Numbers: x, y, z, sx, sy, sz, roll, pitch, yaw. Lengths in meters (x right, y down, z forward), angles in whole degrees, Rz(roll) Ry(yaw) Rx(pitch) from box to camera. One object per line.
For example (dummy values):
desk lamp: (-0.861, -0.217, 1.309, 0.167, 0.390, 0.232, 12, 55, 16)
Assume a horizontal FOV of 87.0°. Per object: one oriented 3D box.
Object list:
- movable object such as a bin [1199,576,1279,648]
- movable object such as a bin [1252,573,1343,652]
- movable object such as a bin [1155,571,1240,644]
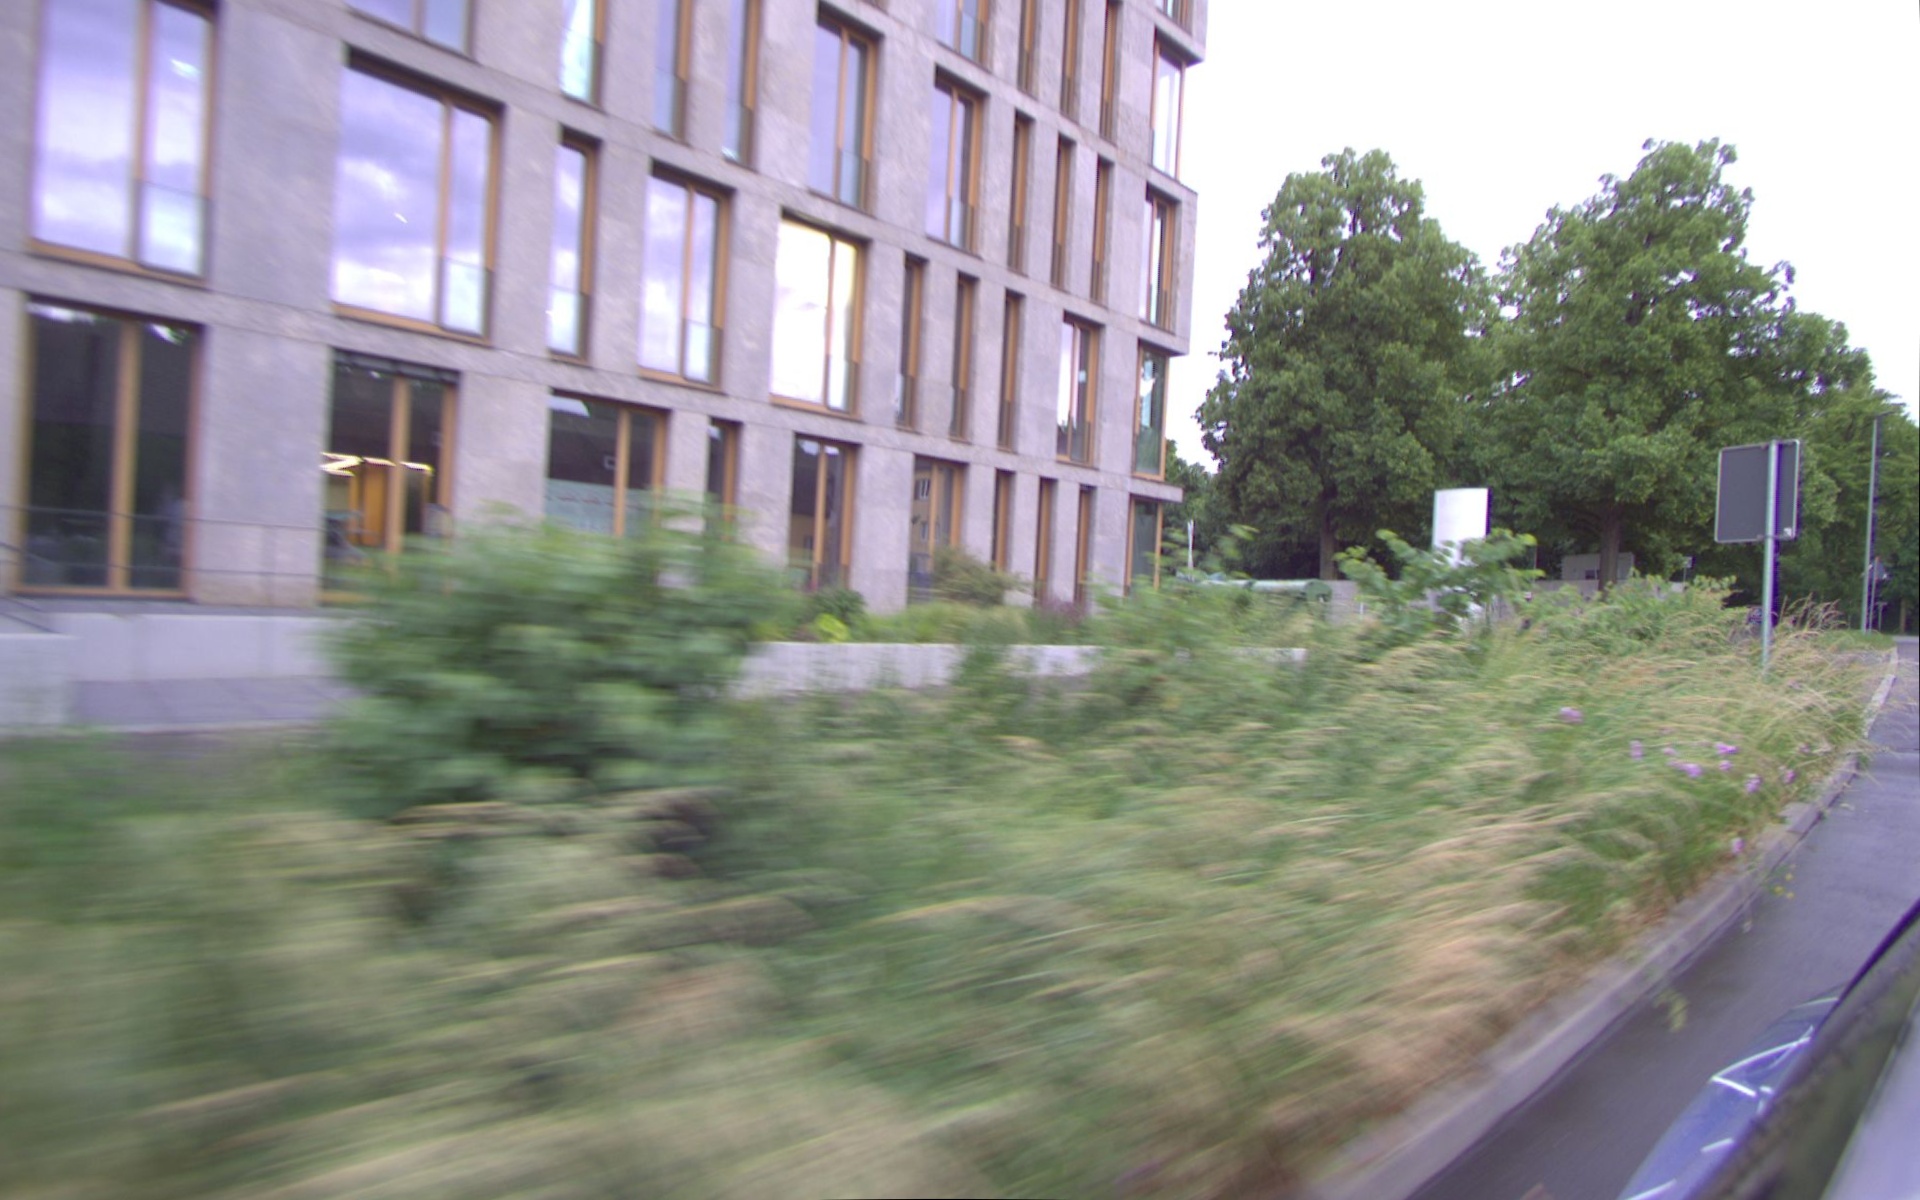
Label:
movable object such as a bin: (5.750, 0.244, 20.874, 1.128, 1.417, 1.101, 0, -2, -34)
movable object such as a bin: (6.624, 0.248, 19.891, 1.089, 1.477, 1.251, 0, -2, -34)
movable object such as a bin: (5.174, 0.140, 22.040, 1.361, 1.523, 1.199, 0, 1, -36)
